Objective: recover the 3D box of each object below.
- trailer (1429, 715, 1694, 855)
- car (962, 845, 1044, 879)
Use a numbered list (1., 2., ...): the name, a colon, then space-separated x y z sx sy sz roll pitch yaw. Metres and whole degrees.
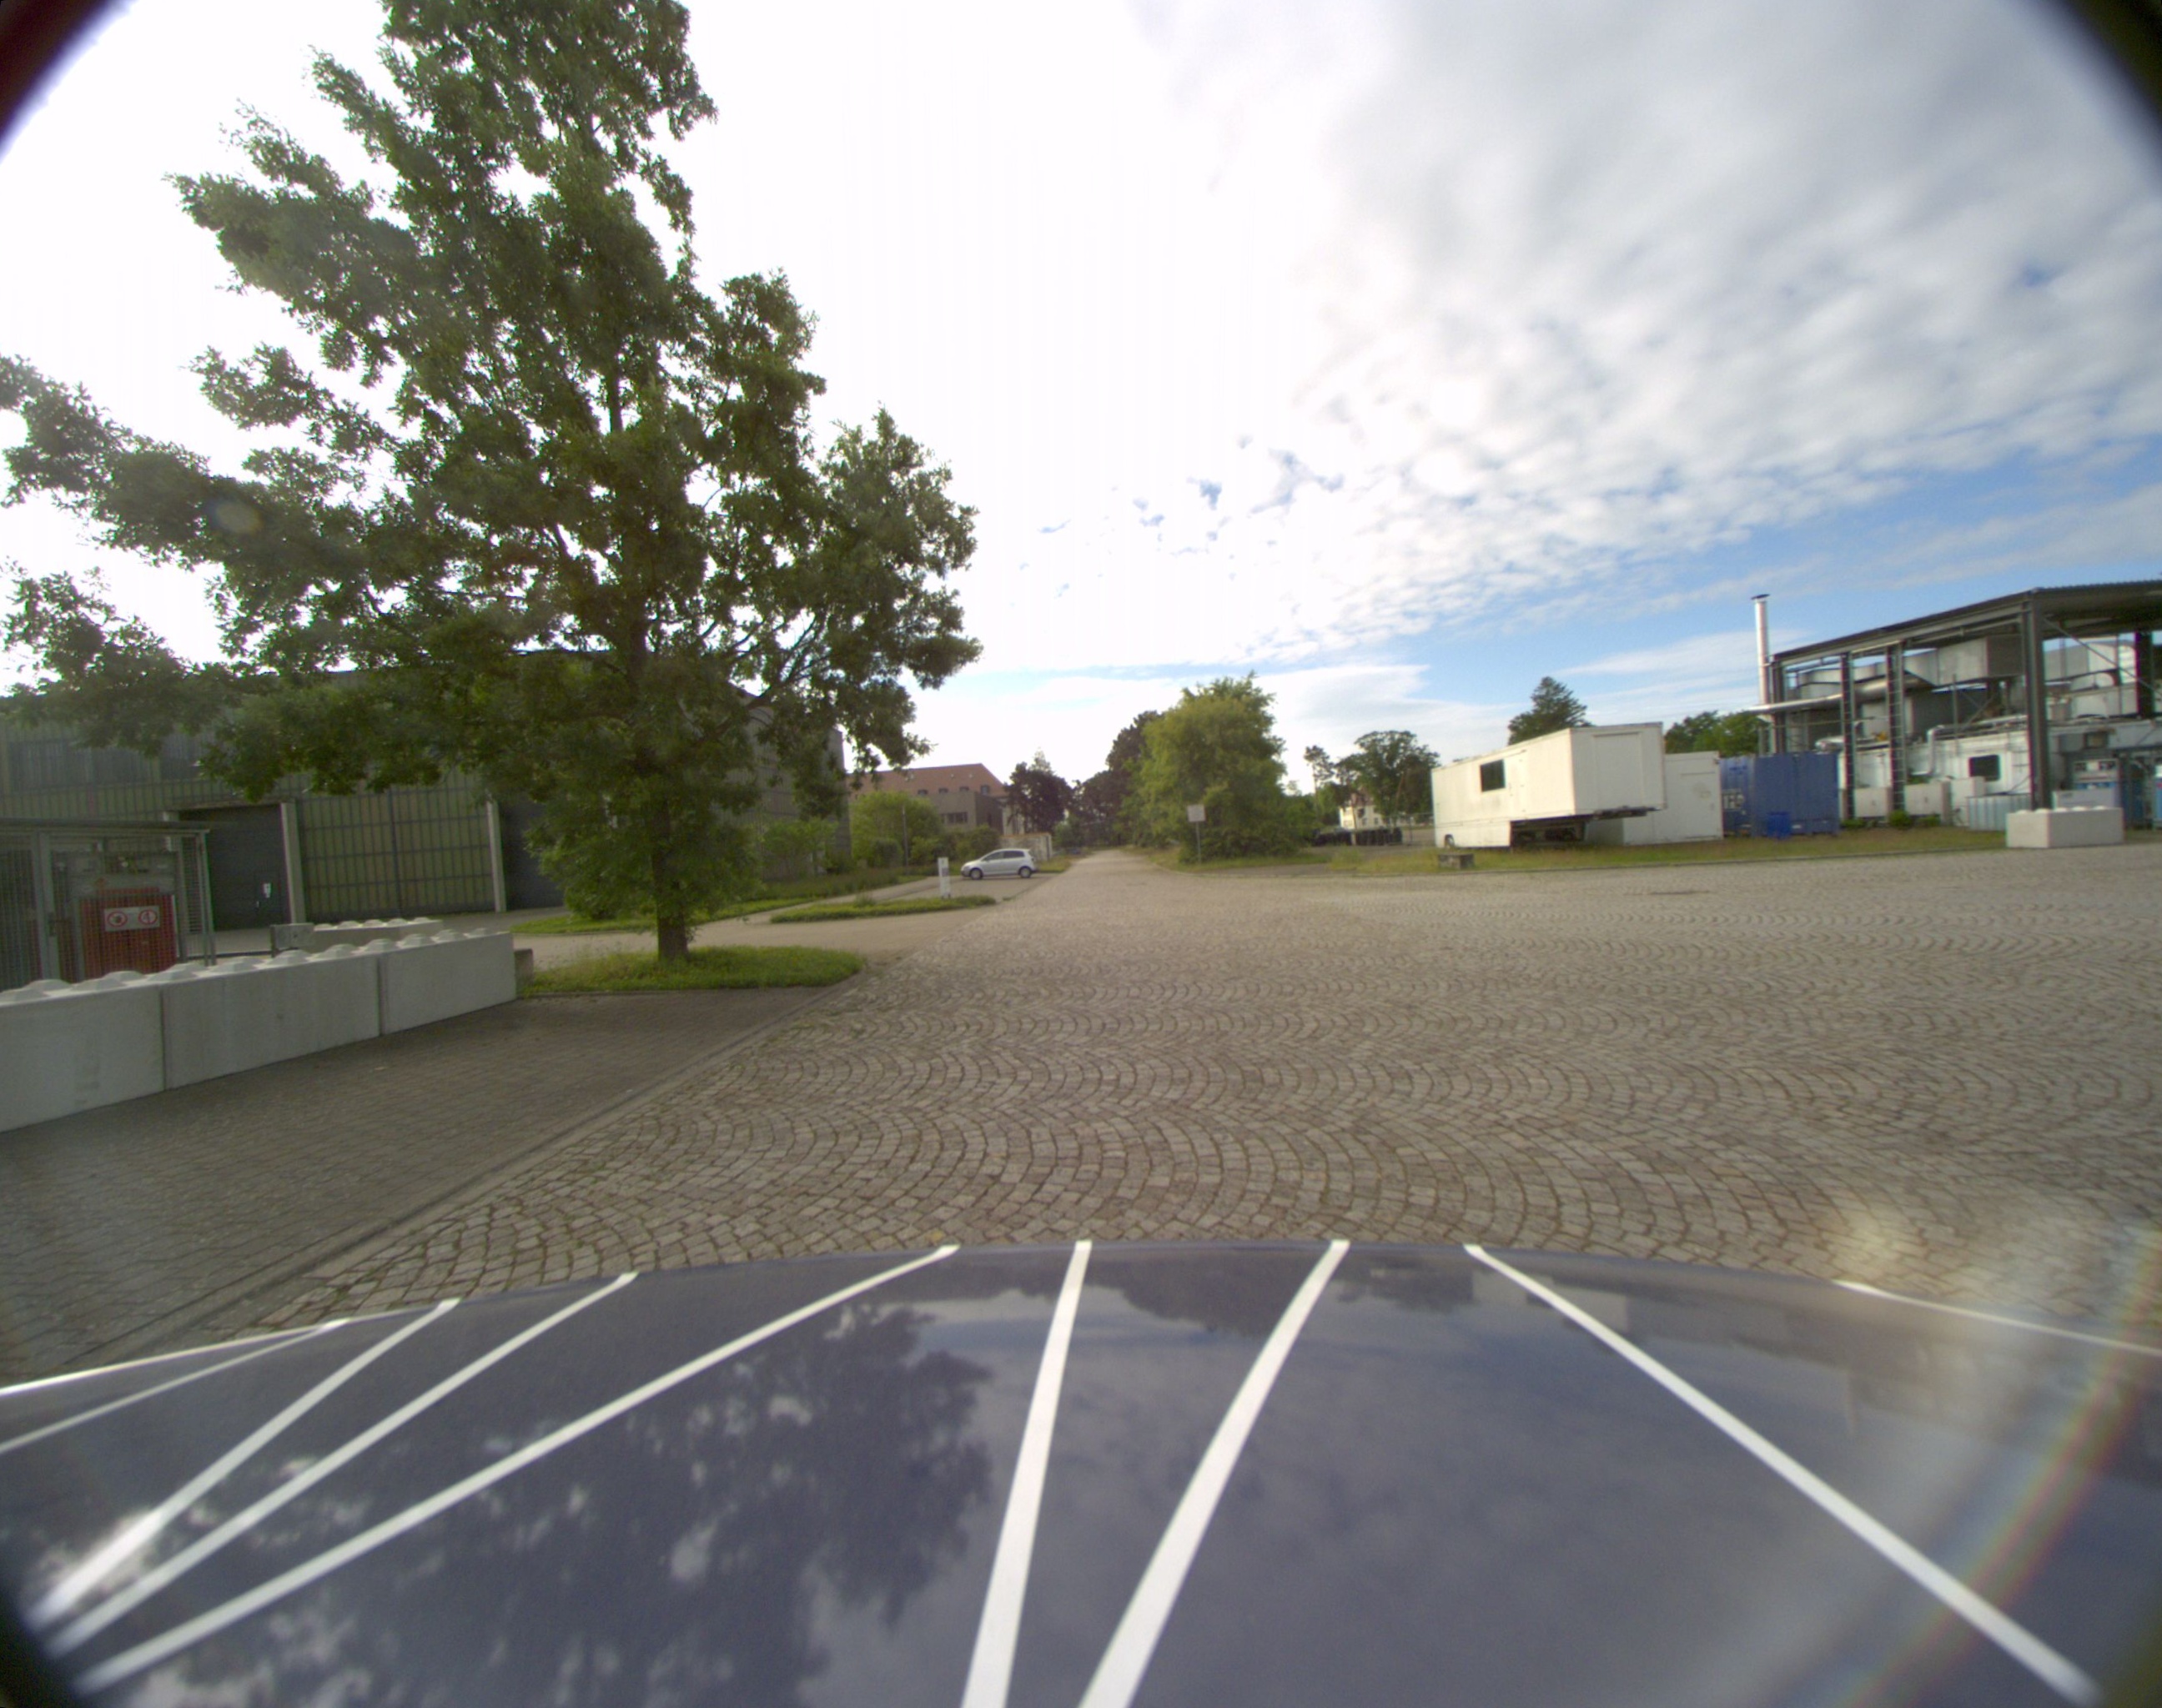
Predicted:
1. trailer: 15.578 -1.976 26.137 2.875 3.641 10.778 -4 1 5
2. car: -4.120 0.407 40.735 4.131 1.615 1.938 -2 2 0
